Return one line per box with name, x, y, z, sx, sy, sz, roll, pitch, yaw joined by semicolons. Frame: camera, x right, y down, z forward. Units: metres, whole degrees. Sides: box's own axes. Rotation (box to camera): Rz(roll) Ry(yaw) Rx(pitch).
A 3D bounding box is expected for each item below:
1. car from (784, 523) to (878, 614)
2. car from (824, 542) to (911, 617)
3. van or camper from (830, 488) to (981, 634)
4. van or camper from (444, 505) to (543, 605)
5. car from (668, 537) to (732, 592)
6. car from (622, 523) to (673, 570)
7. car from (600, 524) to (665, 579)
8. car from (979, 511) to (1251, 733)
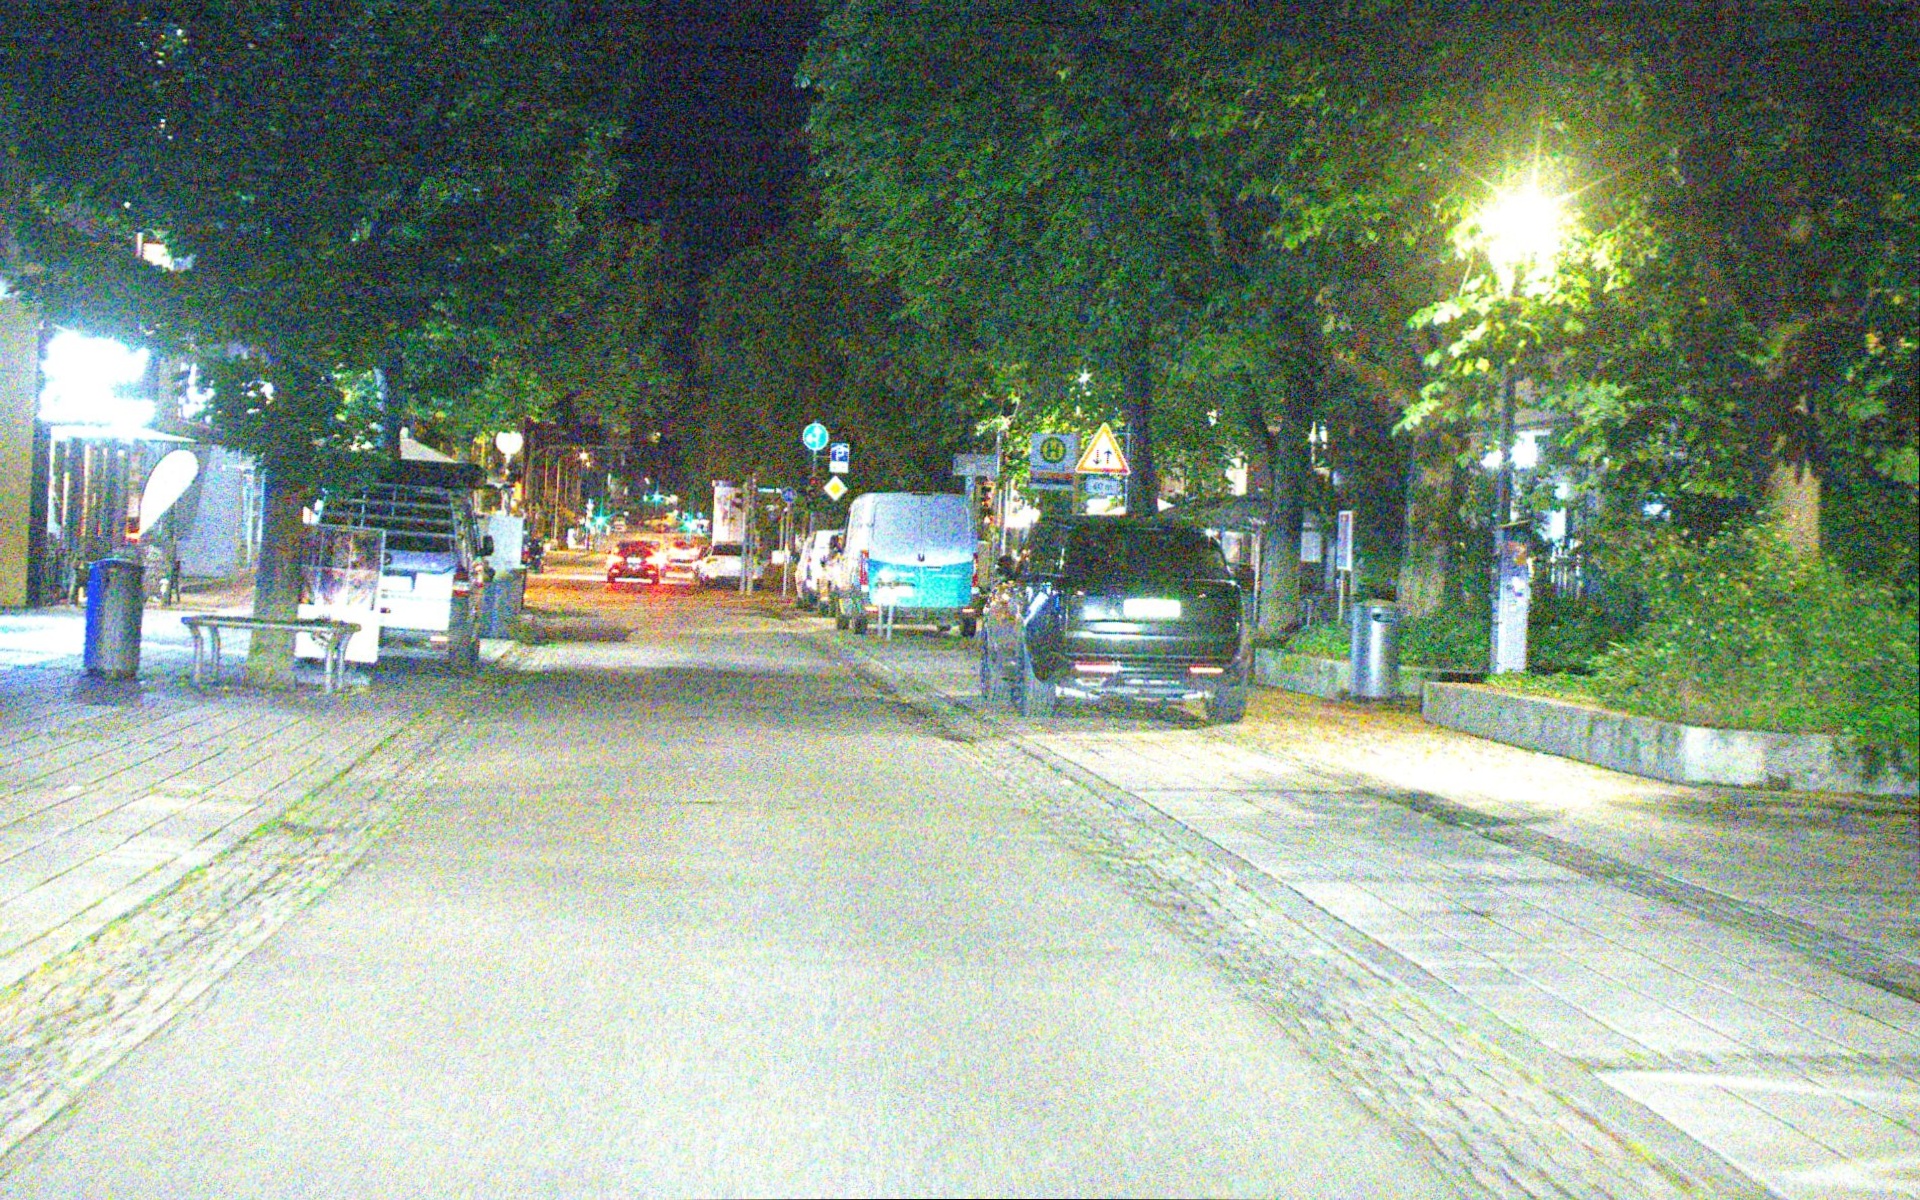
car;-2.867;-0.715;75.655;1.839;1.894;3.846;2;1;-4
car;-1.903;-0.438;70.056;1.531;1.413;3.846;2;1;-4
van or camper;-0.950;-0.666;57.131;2.108;2.309;4.263;1;1;-6
van or camper;-9.853;-0.956;72.410;1.935;1.982;3.846;2;1;-9
car;-7.814;-1.079;103.207;1.839;1.537;3.846;2;1;-4
car;-12.889;-2.210;141.606;1.993;1.817;4.001;2;1;-6
car;-11.534;-1.729;120.904;1.993;1.817;4.001;2;1;-8
car;1.325;0.150;31.208;1.814;1.822;4.348;2;1;-5
